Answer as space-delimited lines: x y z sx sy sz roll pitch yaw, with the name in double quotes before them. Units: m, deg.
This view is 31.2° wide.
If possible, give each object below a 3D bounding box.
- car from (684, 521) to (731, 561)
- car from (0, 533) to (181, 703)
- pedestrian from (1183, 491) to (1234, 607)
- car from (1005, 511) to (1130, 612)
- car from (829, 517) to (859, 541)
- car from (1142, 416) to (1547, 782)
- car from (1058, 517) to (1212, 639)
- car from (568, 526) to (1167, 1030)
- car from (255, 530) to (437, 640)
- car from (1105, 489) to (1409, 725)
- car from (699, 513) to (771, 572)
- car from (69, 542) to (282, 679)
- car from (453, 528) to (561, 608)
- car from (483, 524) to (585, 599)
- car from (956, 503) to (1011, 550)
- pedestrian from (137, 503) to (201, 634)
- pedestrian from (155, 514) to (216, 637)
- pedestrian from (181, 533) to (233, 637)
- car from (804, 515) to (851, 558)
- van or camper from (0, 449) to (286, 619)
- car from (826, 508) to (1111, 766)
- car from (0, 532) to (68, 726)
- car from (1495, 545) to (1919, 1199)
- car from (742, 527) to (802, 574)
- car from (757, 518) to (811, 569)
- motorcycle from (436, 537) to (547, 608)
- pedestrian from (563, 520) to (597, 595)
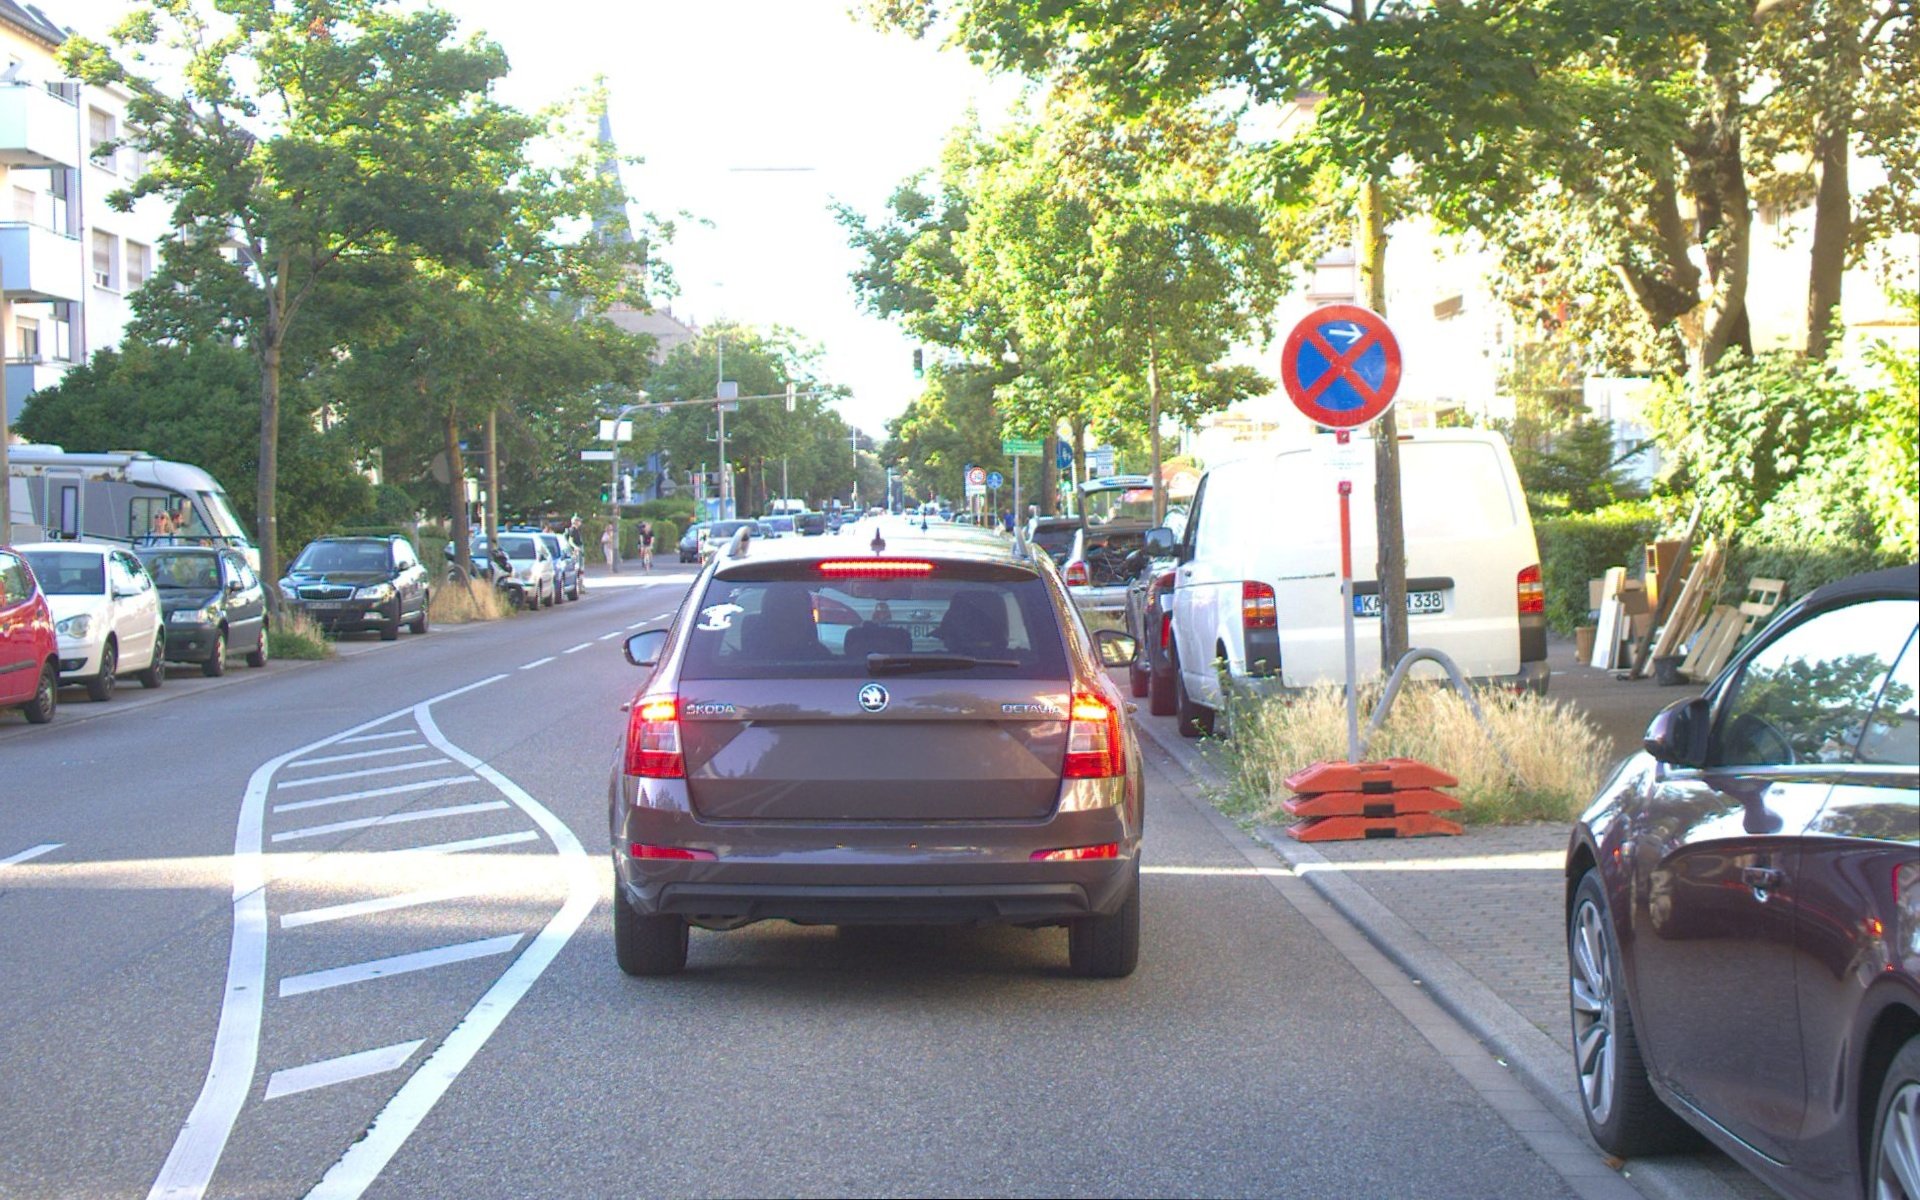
"car" -9.464 -2.218 129.133 1.522 1.452 3.585 -1 1 -1
"car" -8.733 0.135 33.282 1.593 1.518 3.891 -1 1 -2
"pedestrian" 3.828 -0.786 53.034 0.662 1.743 0.772 -3 1 0
"car" 1.795 -0.679 58.448 1.855 1.576 4.014 -3 1 -1
"car" -7.635 -4.695 226.739 1.830 1.574 4.000 -1 1 0
"car" 2.364 -0.062 22.308 1.903 2.096 4.641 -1 1 -2
"car" 2.296 -0.333 46.036 1.708 1.475 4.269 -3 1 -1
"car" -0.317 0.485 12.354 1.773 1.484 4.311 0 1 -1
"car" -8.870 -0.257 50.024 1.867 1.489 4.518 1 1 0
"car" 2.244 -0.002 27.091 1.855 1.598 4.312 -3 1 -1
"car" -6.503 -1.668 99.827 1.835 1.565 4.000 -3 1 -1
"car" -8.628 0.078 38.052 1.543 1.391 3.666 -1 1 -1
"car" -8.763 -0.645 66.702 1.593 1.465 3.804 1 1 -1
"car" -8.816 -0.820 71.395 1.648 1.512 4.074 0 1 0
"car" 0.940 -2.838 133.422 1.994 1.766 4.000 1 1 2
"pedestrian" -10.871 -0.436 47.267 0.713 1.786 0.506 -1 1 2
"pedestrian" -11.408 -0.371 50.667 0.713 1.786 0.572 -1 1 2
"pedestrian" -10.942 -0.216 49.948 0.590 1.490 0.542 -1 1 2
"car" -6.206 -3.007 161.591 1.993 1.902 4.964 -3 1 -1
"van or camper" -15.231 -1.169 59.115 6.797 2.763 2.352 1 1 -1
"car" 0.025 0.182 23.253 1.736 1.565 4.000 1 1 -1
"car" -8.346 0.239 27.121 1.593 1.518 3.436 -1 1 2
"car" 2.340 0.631 6.595 1.757 1.415 4.615 -3 1 -1
"car" -6.341 -1.678 116.407 1.760 1.447 4.534 -3 2 0
"car" -6.585 -2.133 129.170 1.805 1.798 4.746 -3 1 -1
"motorcycle" -8.593 -0.507 63.061 2.052 1.260 0.765 0 2 38
"pedestrian" -10.208 -1.138 92.347 0.780 1.981 0.821 -1 1 0
